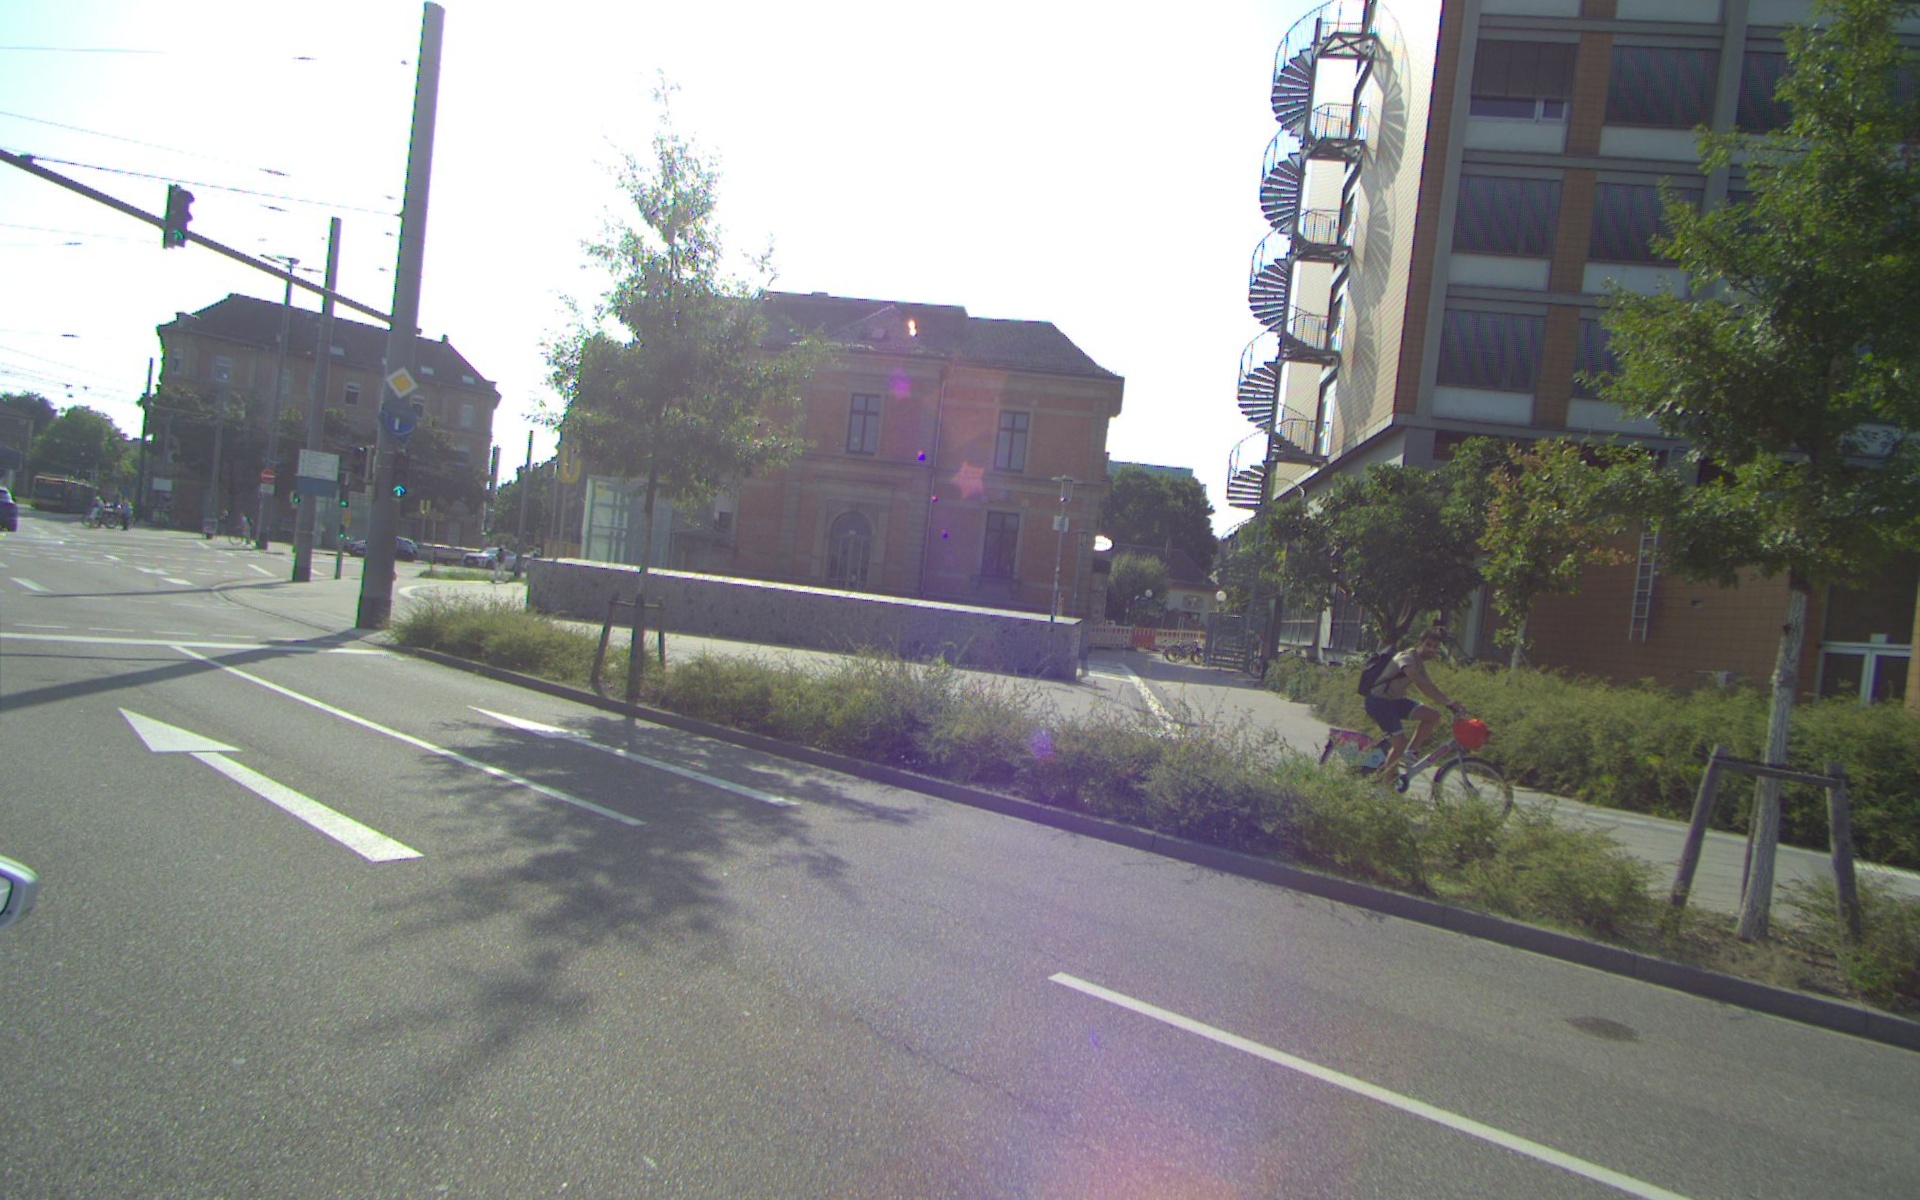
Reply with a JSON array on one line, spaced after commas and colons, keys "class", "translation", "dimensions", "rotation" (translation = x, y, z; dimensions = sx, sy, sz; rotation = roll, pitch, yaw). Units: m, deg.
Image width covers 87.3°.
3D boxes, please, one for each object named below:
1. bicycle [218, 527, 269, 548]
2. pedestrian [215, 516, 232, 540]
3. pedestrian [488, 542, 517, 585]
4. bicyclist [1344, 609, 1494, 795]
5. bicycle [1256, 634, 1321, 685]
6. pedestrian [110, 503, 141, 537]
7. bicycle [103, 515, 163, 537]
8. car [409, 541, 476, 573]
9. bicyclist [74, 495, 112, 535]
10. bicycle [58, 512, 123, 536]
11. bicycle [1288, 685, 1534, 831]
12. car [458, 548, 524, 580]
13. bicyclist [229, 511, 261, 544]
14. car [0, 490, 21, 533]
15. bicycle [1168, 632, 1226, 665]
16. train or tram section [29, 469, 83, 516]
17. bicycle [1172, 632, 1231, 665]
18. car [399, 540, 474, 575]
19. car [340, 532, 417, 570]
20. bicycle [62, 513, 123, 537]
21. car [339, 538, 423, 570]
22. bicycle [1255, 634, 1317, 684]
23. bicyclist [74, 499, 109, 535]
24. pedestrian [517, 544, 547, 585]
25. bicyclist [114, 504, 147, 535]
[{"class": "bicycle", "translation": [-42.132, -3.662, 59.187], "dimensions": [1.073, 0.976, 2.626], "rotation": [6, 0, 0]}, {"class": "pedestrian", "translation": [-49.431, -4.833, 67.502], "dimensions": [0.537, 1.489, 0.667], "rotation": [6, 1, -8]}, {"class": "pedestrian", "translation": [-19.820, -1.570, 43.595], "dimensions": [0.908, 1.711, 0.834], "rotation": [6, 0, -17]}, {"class": "bicyclist", "translation": [4.244, 0.914, 9.304], "dimensions": [0.989, 1.532, 0.719], "rotation": [7, 1, 37]}, {"class": "bicycle", "translation": [10.808, 1.949, 33.134], "dimensions": [1.803, 1.451, 0.608], "rotation": [7, 1, 9]}, {"class": "pedestrian", "translation": [-48.067, -4.586, 57.931], "dimensions": [0.844, 1.820, 0.927], "rotation": [6, 1, -4]}, {"class": "bicycle", "translation": [-49.552, -4.435, 60.313], "dimensions": [1.072, 0.976, 2.628], "rotation": [7, 0, 13]}, {"class": "car", "translation": [-39.386, -3.254, 76.614], "dimensions": [1.895, 1.881, 4.274], "rotation": [7, 0, 19]}, {"class": "bicyclist", "translation": [-48.087, -4.695, 55.810], "dimensions": [1.073, 2.050, 0.936], "rotation": [6, 1, -1]}, {"class": "bicycle", "translation": [-49.697, -4.319, 57.524], "dimensions": [1.072, 0.976, 2.628], "rotation": [7, 0, 13]}, {"class": "bicycle", "translation": [4.158, 1.410, 9.345], "dimensions": [1.892, 0.972, 0.719], "rotation": [6, 1, 37]}, {"class": "car", "translation": [-34.595, -2.636, 74.399], "dimensions": [2.006, 1.881, 4.667], "rotation": [7, -1, 9]}, {"class": "bicyclist", "translation": [-42.062, -4.268, 59.202], "dimensions": [1.073, 1.730, 0.936], "rotation": [7, 1, -1]}, {"class": "car", "translation": [-35.544, -3.358, 36.532], "dimensions": [4.353, 1.446, 1.821], "rotation": [7, 1, 44]}, {"class": "bicycle", "translation": [9.829, 2.011, 41.774], "dimensions": [2.200, 1.084, 0.579], "rotation": [6, 1, 4]}, {"class": "train or tram section", "translation": [-82.673, -9.743, 92.168], "dimensions": [2.641, 3.746, 10.477], "rotation": [6, 1, -38]}, {"class": "bicycle", "translation": [9.817, 1.973, 40.961], "dimensions": [2.152, 1.067, 0.631], "rotation": [6, 1, 4]}, {"class": "car", "translation": [-35.897, -2.897, 69.151], "dimensions": [1.873, 1.881, 4.712], "rotation": [7, -1, 11]}, {"class": "car", "translation": [-37.006, -3.109, 64.177], "dimensions": [1.873, 1.881, 4.253], "rotation": [7, 0, 9]}, {"class": "bicycle", "translation": [-48.145, -4.147, 55.865], "dimensions": [1.073, 0.976, 2.626], "rotation": [7, 0, 0]}, {"class": "car", "translation": [-34.612, -2.734, 60.276], "dimensions": [1.985, 1.414, 4.390], "rotation": [7, -1, 9]}, {"class": "bicycle", "translation": [11.004, 1.983, 34.047], "dimensions": [1.781, 1.451, 0.608], "rotation": [7, 1, 9]}, {"class": "bicyclist", "translation": [-49.650, -4.743, 57.500], "dimensions": [1.072, 1.822, 0.937], "rotation": [7, 1, 13]}, {"class": "pedestrian", "translation": [-19.177, -1.582, 45.106], "dimensions": [0.908, 1.711, 0.922], "rotation": [6, 0, -14]}, {"class": "bicyclist", "translation": [-49.546, -4.810, 60.114], "dimensions": [1.072, 1.701, 0.937], "rotation": [7, 1, 13]}]
